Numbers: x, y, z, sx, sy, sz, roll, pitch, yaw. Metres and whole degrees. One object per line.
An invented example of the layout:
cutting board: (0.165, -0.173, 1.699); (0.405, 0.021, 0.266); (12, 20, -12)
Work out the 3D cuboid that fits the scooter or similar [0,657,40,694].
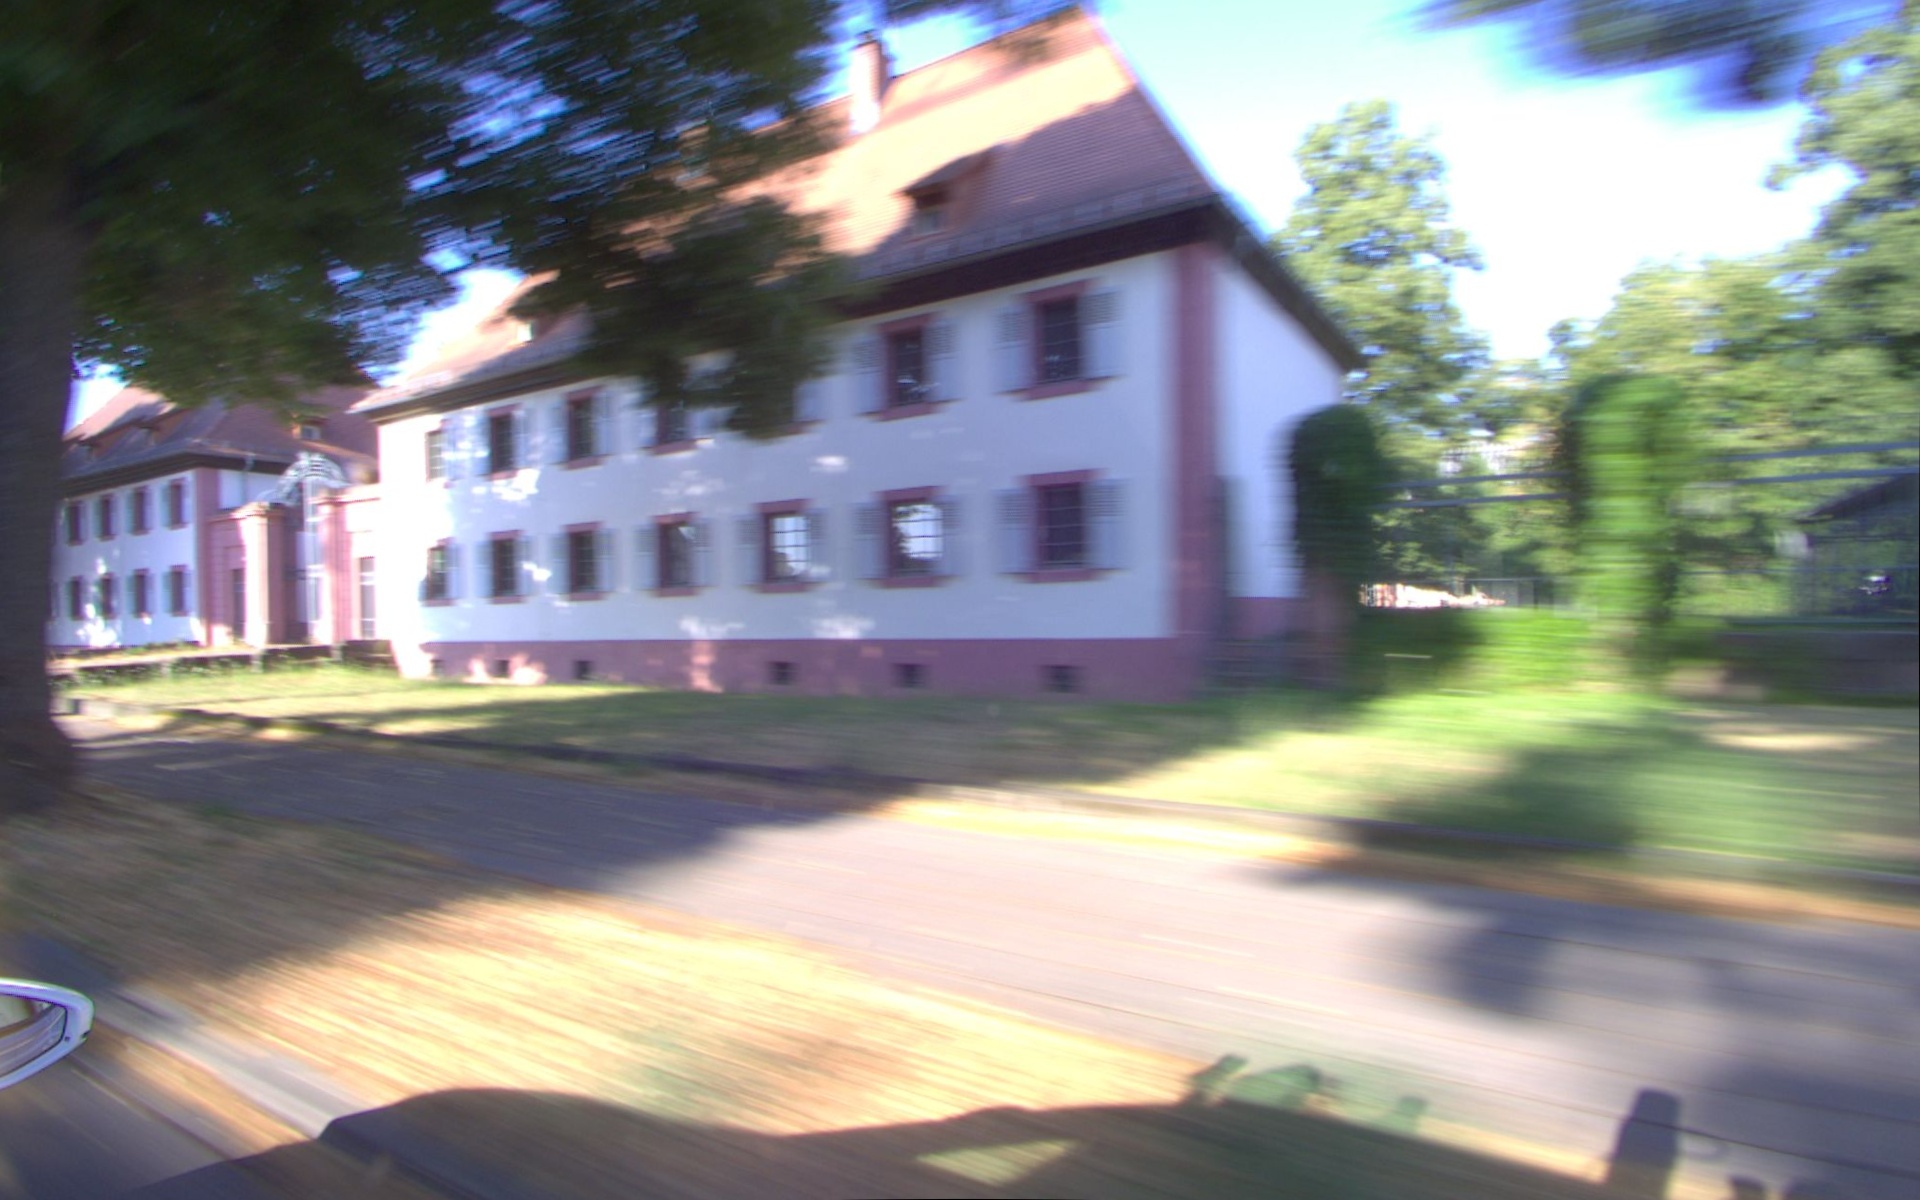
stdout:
scooter or similar: (-17.657, 1.423, 18.097); (1.049, 0.557, 1.220); (-1, 8, 32)
